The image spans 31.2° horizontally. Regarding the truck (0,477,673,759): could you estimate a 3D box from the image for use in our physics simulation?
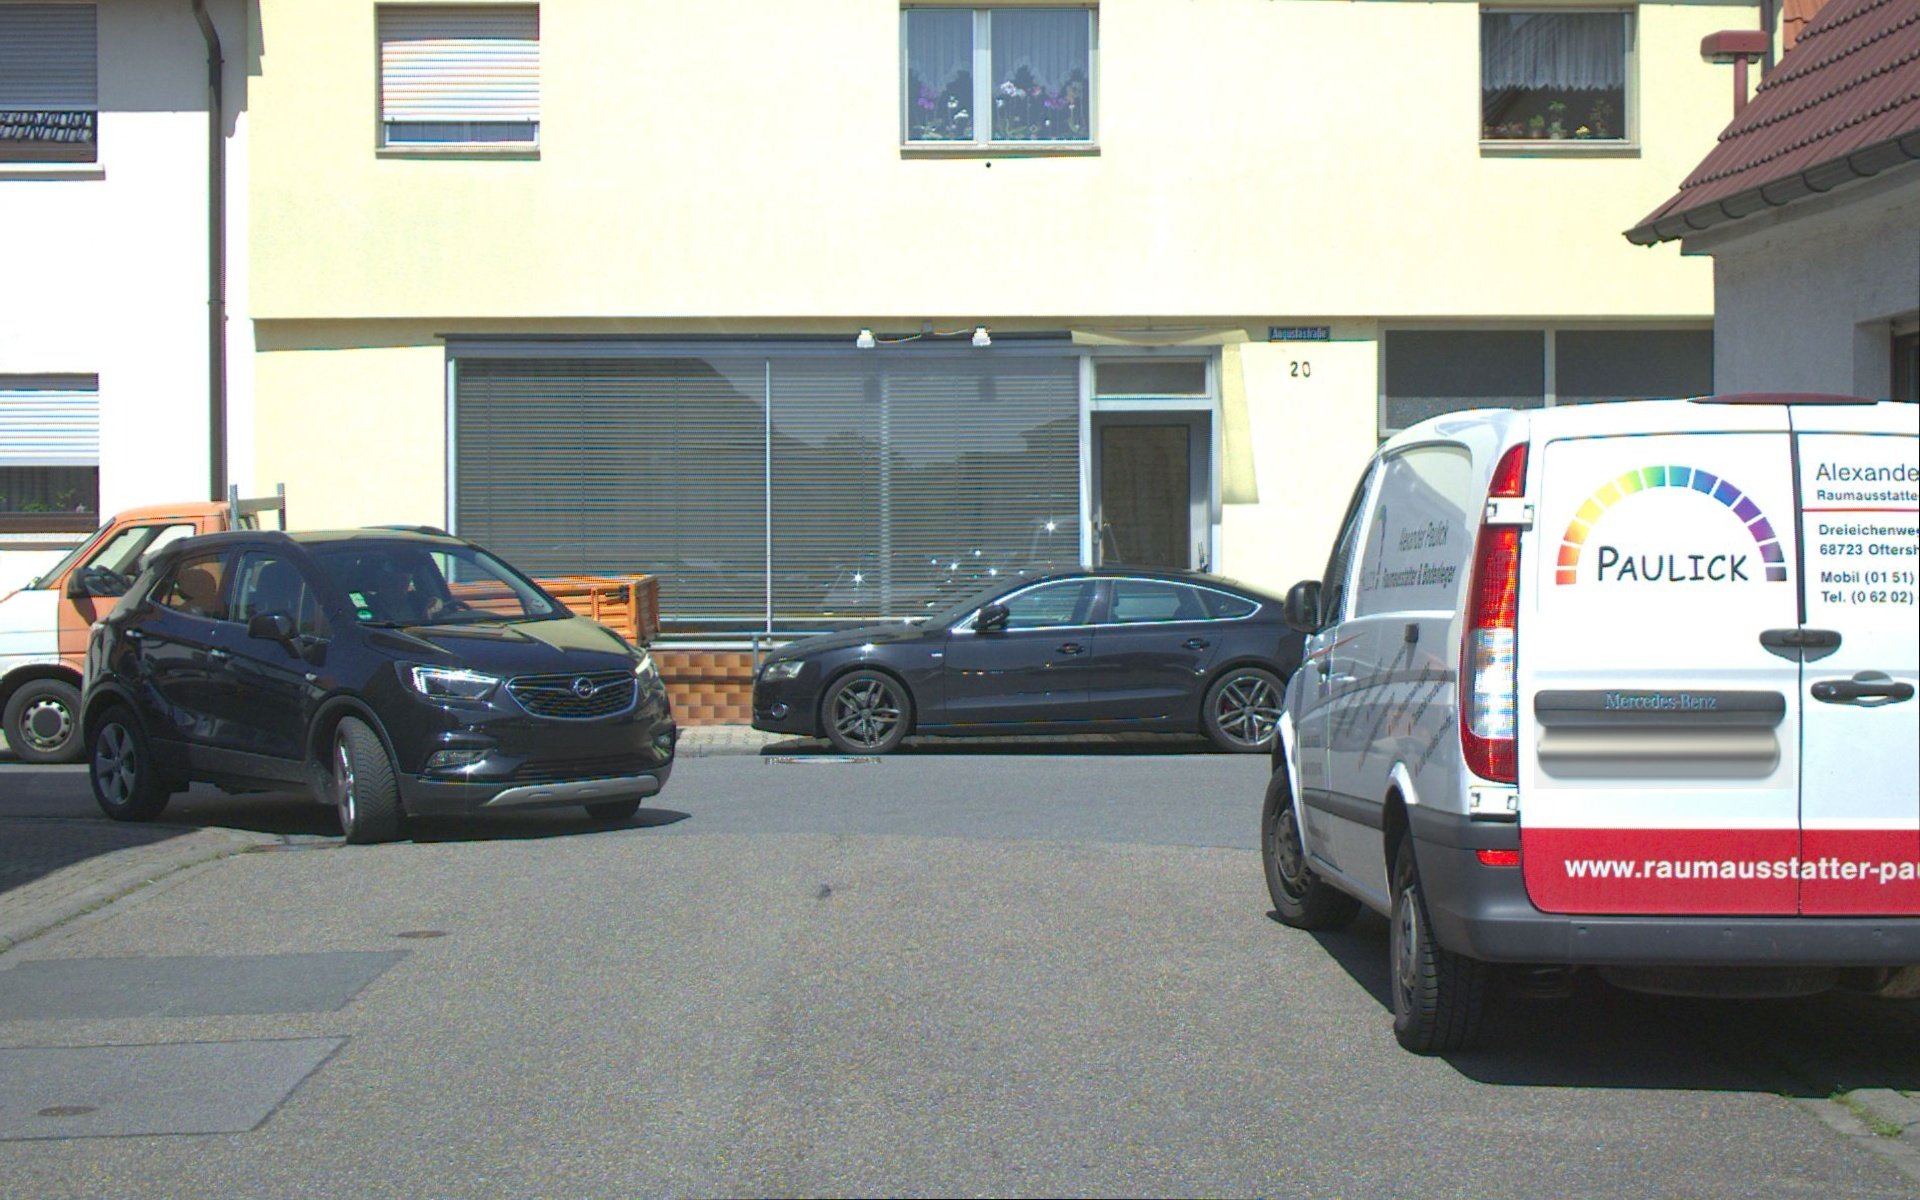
[{"bbox_3d":[-4.773,0.122,25.801,5.063,2.007,2.190,0,0,-1],"label":"truck"}]

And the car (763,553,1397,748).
[{"bbox_3d":[0.842,0.404,25.958,4.616,1.389,1.928,0,-2,-2],"label":"car"}]

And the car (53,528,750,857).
[{"bbox_3d":[-3.189,0.432,19.003,1.757,1.577,4.279,-2,2,-41],"label":"car"}]

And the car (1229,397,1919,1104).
[{"bbox_3d":[2.188,0.361,11.640,2.012,1.832,5.266,1,1,-1],"label":"car"}]
